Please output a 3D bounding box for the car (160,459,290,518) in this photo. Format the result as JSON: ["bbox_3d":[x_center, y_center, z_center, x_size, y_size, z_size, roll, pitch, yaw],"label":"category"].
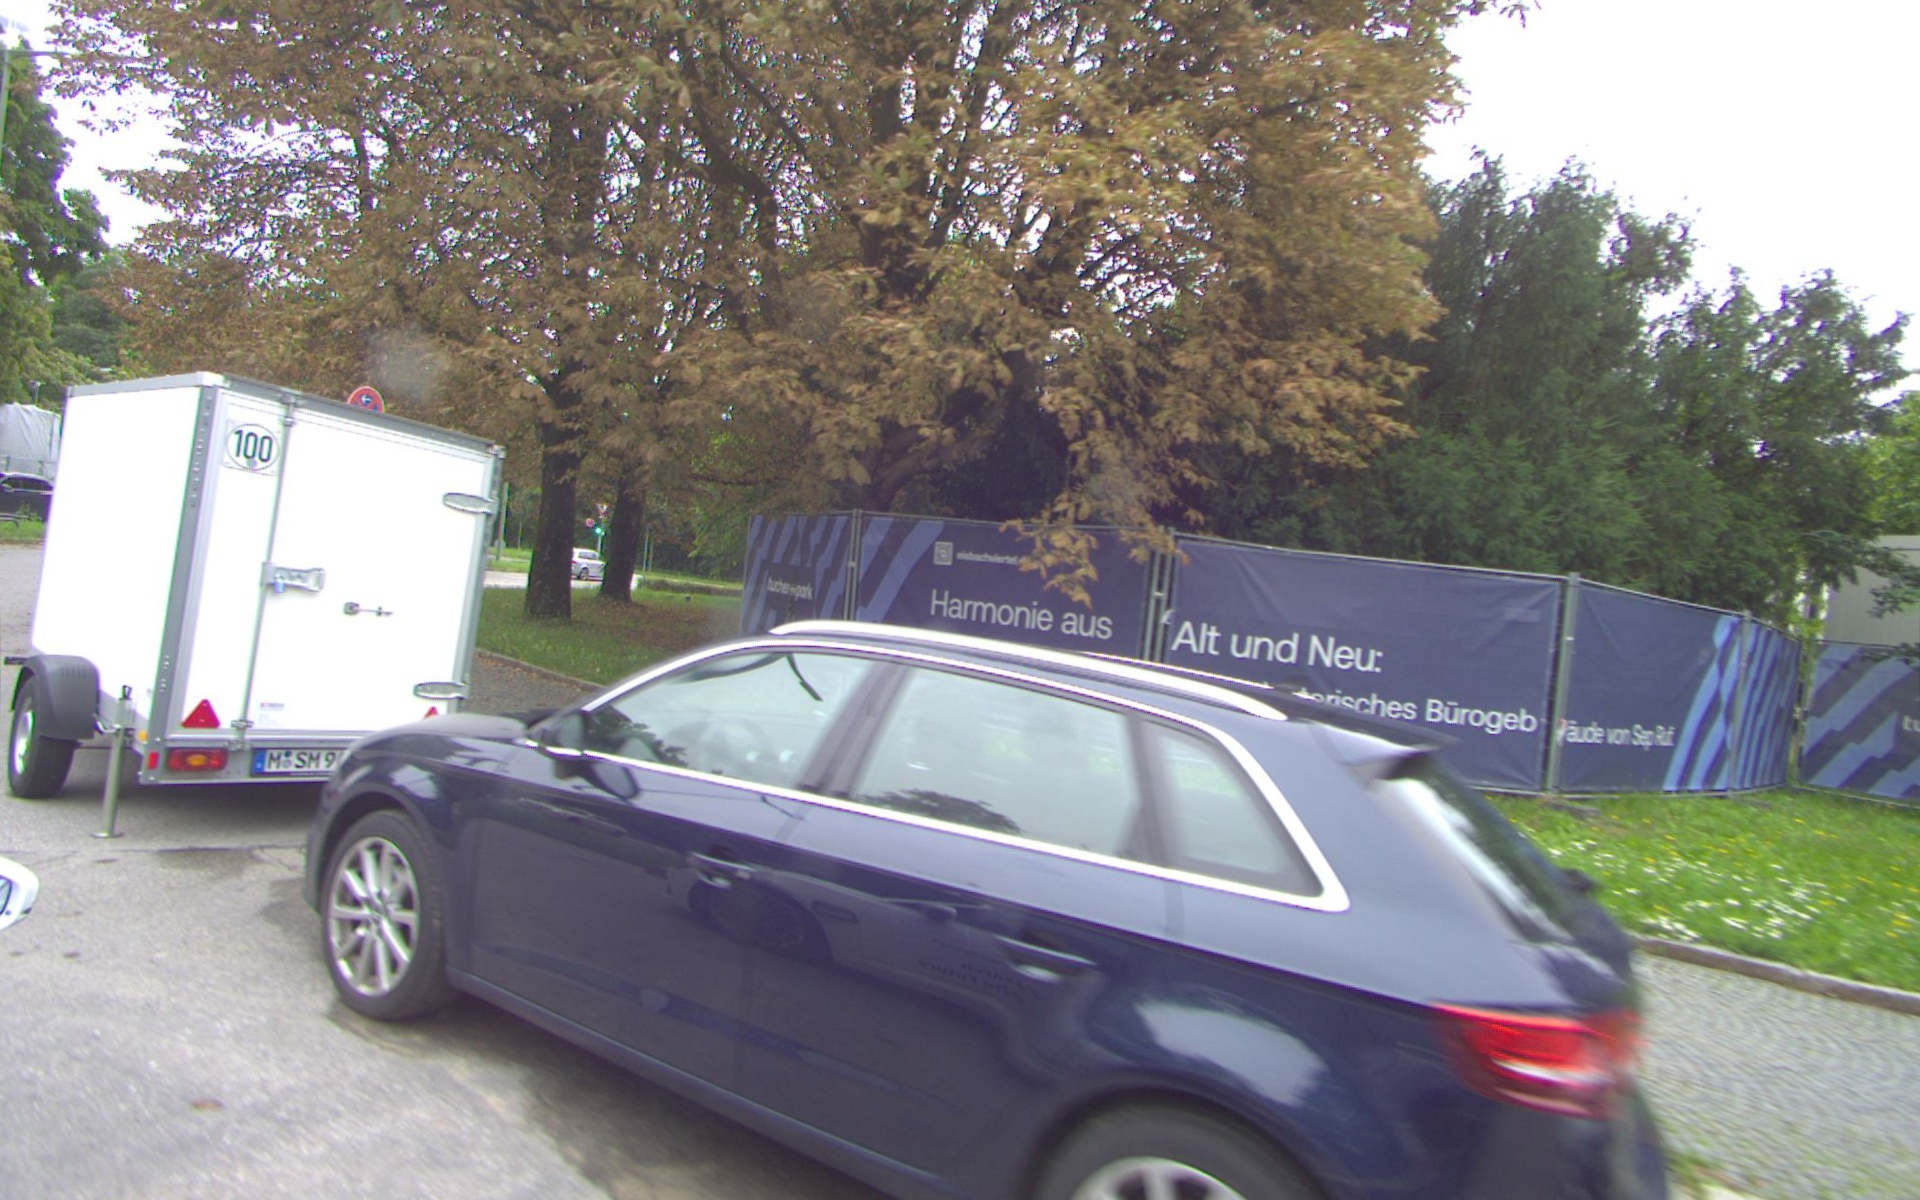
[{"bbox_3d":[-59.893,-9.051,82.085,8.554,3.492,3.095,7,1,8],"label":"car"}]

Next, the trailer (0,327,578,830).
[{"bbox_3d":[-4.539,-0.224,6.304,4.765,2.039,1.806,7,1,41],"label":"trailer"}]

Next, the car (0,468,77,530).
[{"bbox_3d":[-30.062,-3.296,30.940,1.857,1.625,4.397,7,-2,-2],"label":"car"}]

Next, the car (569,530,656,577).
[{"bbox_3d":[-17.154,-2.277,49.872,1.962,1.771,4.125,8,0,15],"label":"car"}]

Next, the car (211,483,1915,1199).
[{"bbox_3d":[-0.222,0.616,3.206,4.254,1.456,1.874,8,2,30],"label":"car"}]
